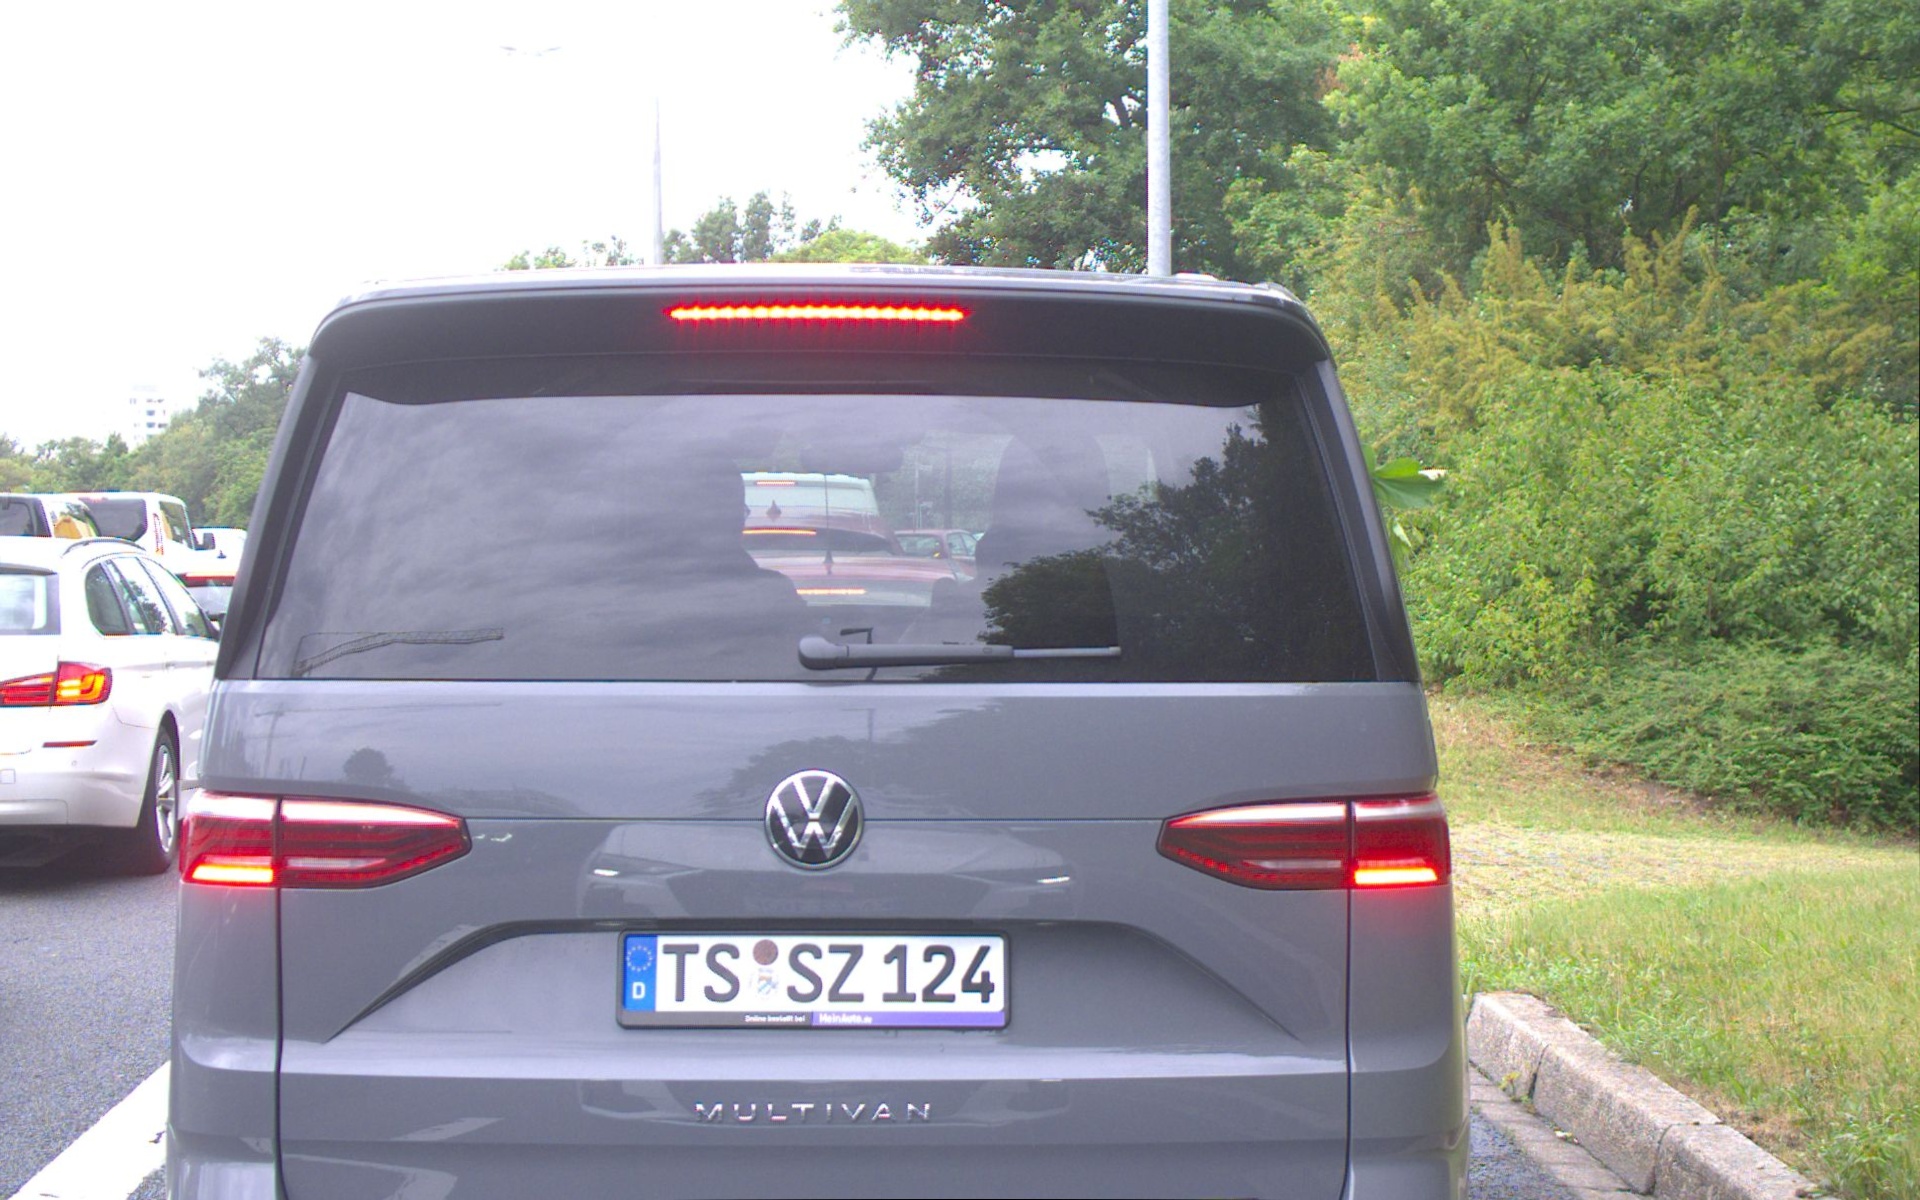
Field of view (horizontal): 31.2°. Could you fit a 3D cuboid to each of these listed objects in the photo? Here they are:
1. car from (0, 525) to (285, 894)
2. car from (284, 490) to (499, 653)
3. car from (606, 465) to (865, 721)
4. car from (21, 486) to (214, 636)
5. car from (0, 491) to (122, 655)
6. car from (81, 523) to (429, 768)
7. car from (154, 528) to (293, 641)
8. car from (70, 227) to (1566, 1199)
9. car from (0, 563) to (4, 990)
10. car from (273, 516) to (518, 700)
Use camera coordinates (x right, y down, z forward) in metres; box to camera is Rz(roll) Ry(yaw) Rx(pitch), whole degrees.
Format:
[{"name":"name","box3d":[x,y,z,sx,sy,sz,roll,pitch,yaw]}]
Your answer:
[{"name":"car","box3d":[-4.338,0.405,16.131,1.623,1.489,4.547,0,1,-3]},{"name":"car","box3d":[-6.240,-0.329,38.180,1.884,1.694,4.430,0,1,-3]},{"name":"car","box3d":[-1.780,-0.081,27.547,1.884,1.873,4.430,0,1,-3]},{"name":"car","box3d":[-10.072,-0.479,41.355,1.623,1.695,4.297,0,1,-5]},{"name":"car","box3d":[-9.410,-0.285,33.457,1.623,1.489,4.297,0,1,-2]},{"name":"car","box3d":[-4.638,0.247,23.153,1.623,1.489,4.297,0,1,-2]},{"name":"car","box3d":[-11.519,-0.267,53.988,1.623,1.695,4.297,0,1,-5]},{"name":"car","box3d":[-0.199,0.440,6.598,1.899,1.878,4.416,1,1,0]},{"name":"car","box3d":[-3.834,0.598,9.009,1.623,1.390,4.309,0,1,-2]},{"name":"car","box3d":[-4.902,0.036,30.310,1.623,1.489,4.297,0,1,-2]}]
